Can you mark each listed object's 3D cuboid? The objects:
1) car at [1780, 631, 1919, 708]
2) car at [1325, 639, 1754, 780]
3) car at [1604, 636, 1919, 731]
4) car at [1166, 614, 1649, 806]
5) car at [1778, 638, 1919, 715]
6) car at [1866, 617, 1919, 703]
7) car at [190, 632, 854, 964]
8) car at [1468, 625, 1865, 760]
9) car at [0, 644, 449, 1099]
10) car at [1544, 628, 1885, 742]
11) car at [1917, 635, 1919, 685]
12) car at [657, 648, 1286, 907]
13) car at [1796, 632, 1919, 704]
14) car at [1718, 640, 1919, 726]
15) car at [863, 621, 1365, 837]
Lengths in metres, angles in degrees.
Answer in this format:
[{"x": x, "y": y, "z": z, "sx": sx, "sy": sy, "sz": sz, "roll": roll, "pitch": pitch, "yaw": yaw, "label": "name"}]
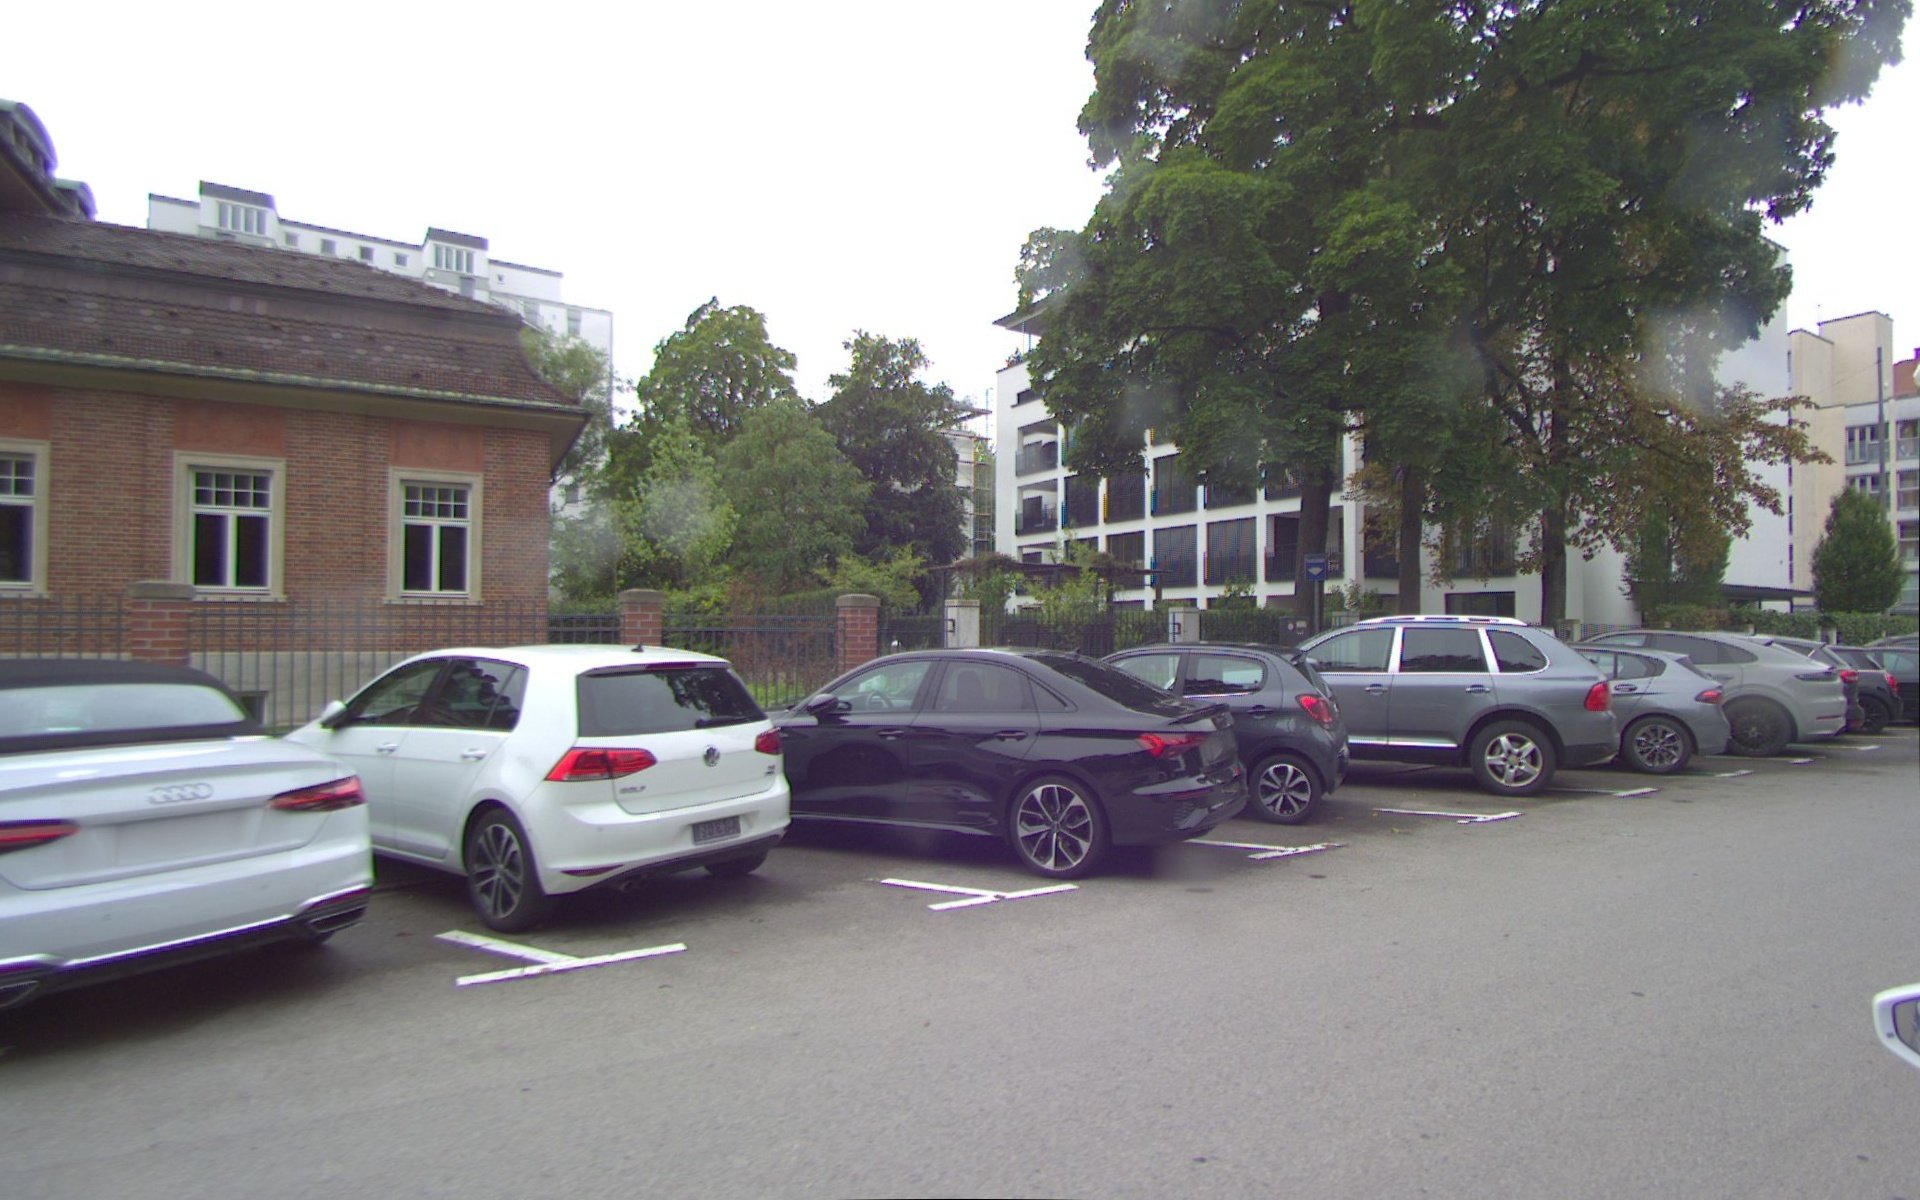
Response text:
[{"x": 20.697, "y": 1.493, "z": 21.862, "sx": 4.145, "sy": 1.630, "sz": 1.733, "roll": -3, "pitch": -3, "yaw": 32, "label": "car"}, {"x": 6.996, "y": 1.258, "z": 12.661, "sx": 4.329, "sy": 1.510, "sz": 2.016, "roll": -1, "pitch": -2, "yaw": 25, "label": "car"}, {"x": 13.761, "y": 1.388, "z": 17.588, "sx": 4.146, "sy": 1.480, "sz": 1.789, "roll": -2, "pitch": -3, "yaw": 33, "label": "car"}, {"x": 4.628, "y": 1.062, "z": 10.881, "sx": 4.329, "sy": 1.721, "sz": 2.136, "roll": -1, "pitch": -2, "yaw": 25, "label": "car"}, {"x": 18.953, "y": 1.486, "z": 19.853, "sx": 4.150, "sy": 1.480, "sz": 1.731, "roll": -3, "pitch": -3, "yaw": 36, "label": "car"}, {"x": 25.018, "y": 1.423, "z": 24.338, "sx": 4.141, "sy": 2.093, "sz": 1.735, "roll": -2, "pitch": -3, "yaw": 28, "label": "car"}, {"x": -3.054, "y": 1.082, "z": 6.696, "sx": 4.441, "sy": 1.529, "sz": 1.927, "roll": -4, "pitch": -4, "yaw": 33, "label": "car"}, {"x": 9.853, "y": 1.222, "z": 14.379, "sx": 4.341, "sy": 1.642, "sz": 2.079, "roll": -2, "pitch": -3, "yaw": 36, "label": "car"}, {"x": -4.688, "y": 0.972, "z": 4.970, "sx": 4.440, "sy": 1.470, "sz": 1.892, "roll": -2, "pitch": -3, "yaw": 33, "label": "car"}, {"x": 11.869, "y": 1.289, "z": 16.186, "sx": 4.146, "sy": 1.619, "sz": 1.882, "roll": -2, "pitch": -3, "yaw": 33, "label": "car"}, {"x": 29.135, "y": 1.775, "z": 27.342, "sx": 4.044, "sy": 1.730, "sz": 1.735, "roll": -2, "pitch": -3, "yaw": 27, "label": "car"}, {"x": 0.061, "y": 1.101, "z": 7.591, "sx": 4.330, "sy": 1.458, "sz": 1.964, "roll": -1, "pitch": -3, "yaw": 26, "label": "car"}, {"x": 22.361, "y": 1.562, "z": 23.369, "sx": 4.141, "sy": 1.630, "sz": 1.735, "roll": -3, "pitch": -3, "yaw": 28, "label": "car"}, {"x": 16.648, "y": 1.489, "z": 18.353, "sx": 4.140, "sy": 1.480, "sz": 1.735, "roll": -2, "pitch": -3, "yaw": 27, "label": "car"}, {"x": 1.448, "y": 1.064, "z": 9.511, "sx": 4.329, "sy": 1.651, "sz": 1.965, "roll": -1, "pitch": -2, "yaw": 25, "label": "car"}]
